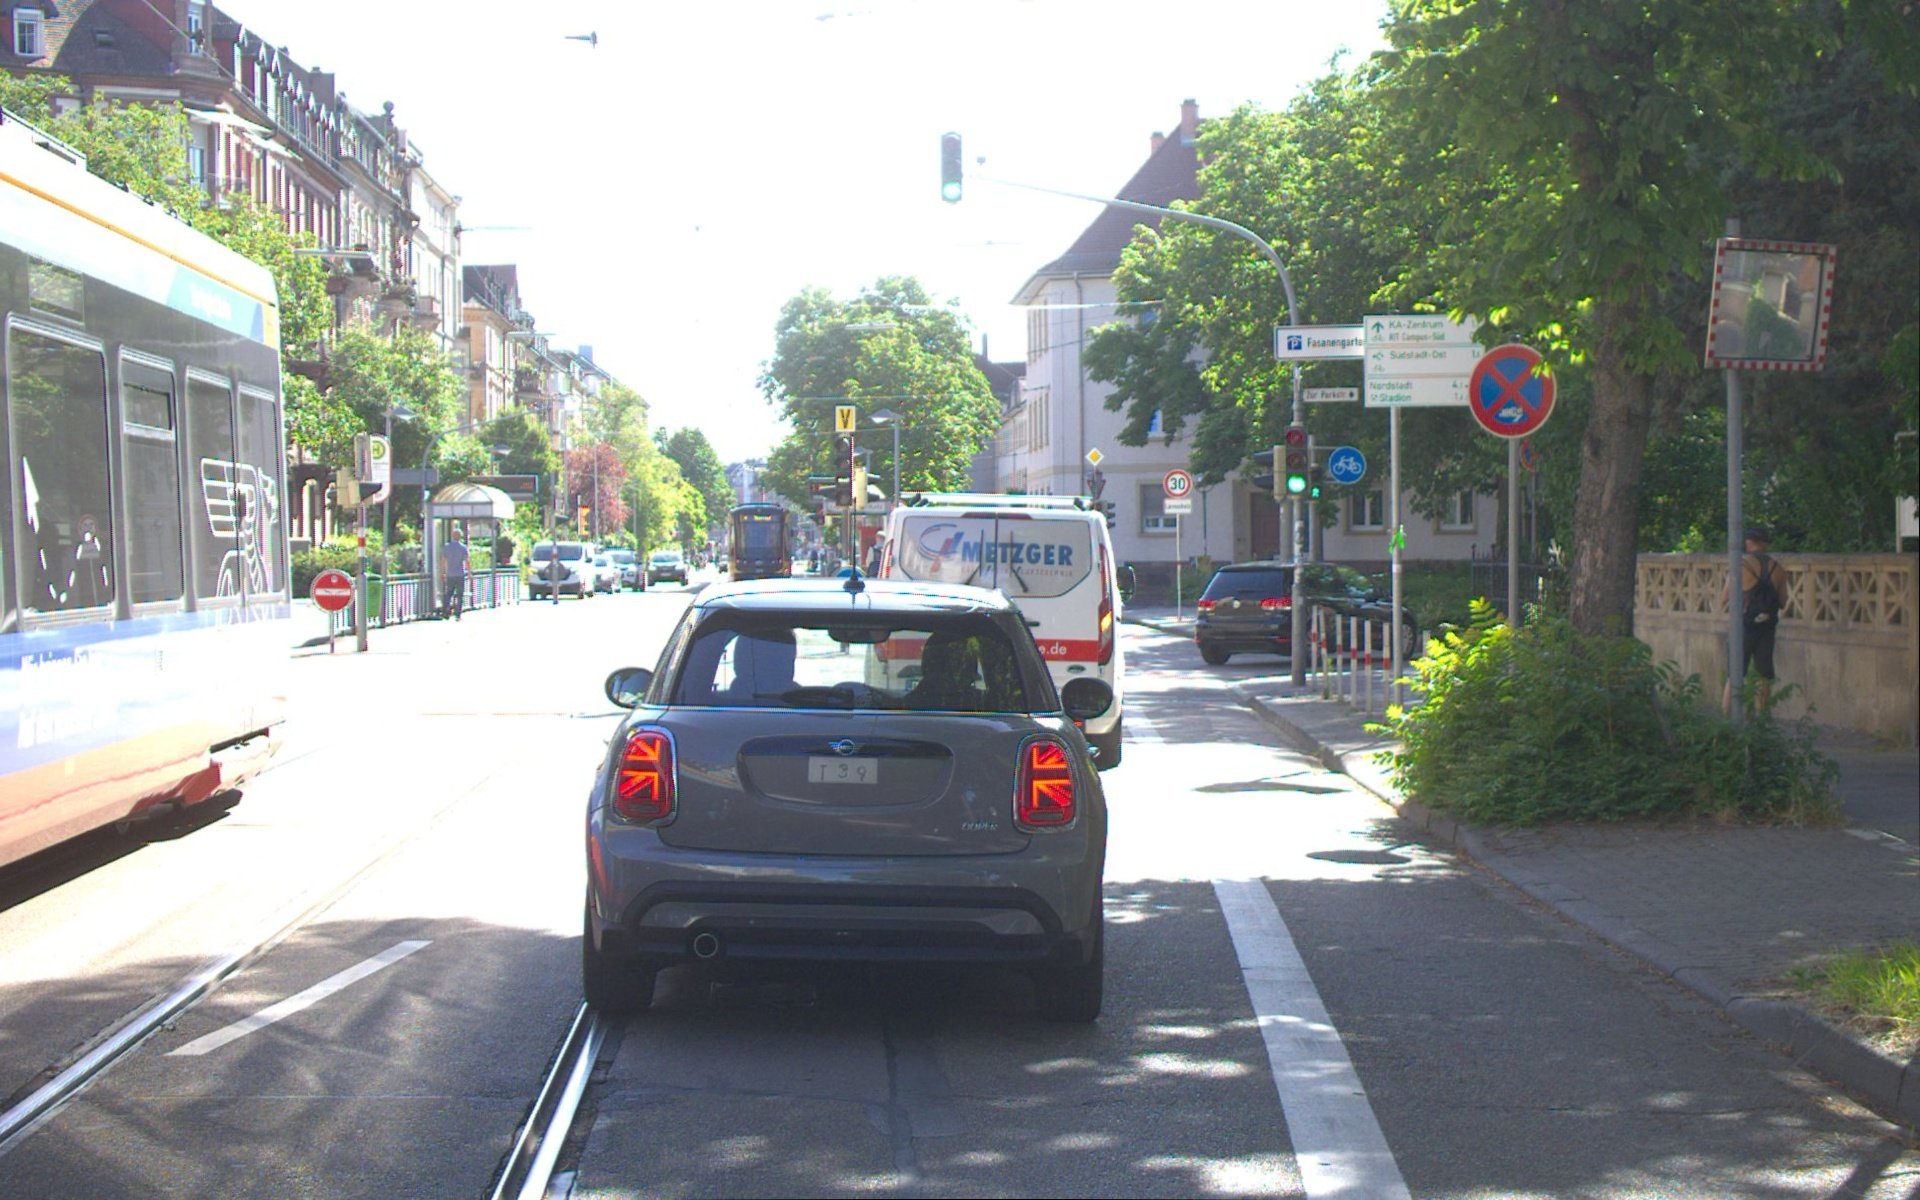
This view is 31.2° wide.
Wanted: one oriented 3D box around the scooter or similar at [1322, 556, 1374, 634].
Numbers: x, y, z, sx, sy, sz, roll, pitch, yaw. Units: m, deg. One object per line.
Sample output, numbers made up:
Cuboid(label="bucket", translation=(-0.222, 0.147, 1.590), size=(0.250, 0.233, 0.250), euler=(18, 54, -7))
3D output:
Cuboid(label="scooter or similar", translation=(6.575, -0.091, 58.310), size=(0.676, 1.306, 1.329), euler=(1, 0, -1))

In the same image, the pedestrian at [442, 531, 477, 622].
Cuboid(label="pedestrian", translation=(-9.968, -0.472, 68.464), size=(0.577, 1.789, 0.608), euler=(-1, 1, -19))

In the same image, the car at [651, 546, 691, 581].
Cuboid(label="car", translation=(-13.534, -1.702, 161.244), size=(1.775, 1.612, 4.001), euler=(1, 0, -4))

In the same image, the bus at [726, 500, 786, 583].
Cuboid(label="bus", translation=(-8.940, -2.509, 150.095), size=(2.385, 3.484, 7.385), euler=(1, 0, -5))

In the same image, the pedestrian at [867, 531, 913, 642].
Cuboid(label="pedestrian", translation=(-1.283, -0.249, 63.053), size=(0.795, 2.007, 0.740), euler=(1, 0, -2))

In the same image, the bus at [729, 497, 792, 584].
Cuboid(label="bus", translation=(-8.313, -2.446, 142.678), size=(2.385, 3.484, 7.385), euler=(1, 0, -5))

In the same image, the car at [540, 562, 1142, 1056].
Cuboid(label="car", translation=(-0.387, 0.627, 12.504), size=(1.815, 1.483, 4.000), euler=(1, 0, -1))

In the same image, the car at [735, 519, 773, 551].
Cuboid(label="car", translation=(-10.520, -3.290, 175.365), size=(1.863, 1.558, 4.001), euler=(1, 0, -4))

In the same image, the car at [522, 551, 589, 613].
Cuboid(label="car", translation=(-13.680, -0.619, 116.390), size=(1.993, 2.007, 5.030), euler=(1, 0, -4))

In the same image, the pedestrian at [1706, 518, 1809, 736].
Cuboid(label="pedestrian", translation=(6.208, 0.205, 26.788), size=(0.592, 1.665, 0.647), euler=(-2, 0, -1))

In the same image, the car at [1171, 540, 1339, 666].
Cuboid(label="car", translation=(4.165, 0.027, 49.121), size=(1.993, 1.700, 4.000), euler=(1, 0, 0))

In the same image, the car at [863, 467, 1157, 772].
Cuboid(label="car", translation=(0.336, 0.131, 27.631), size=(2.118, 2.201, 4.944), euler=(1, 0, -1))

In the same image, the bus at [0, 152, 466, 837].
Cuboid(label="bus", translation=(-5.624, -0.628, 25.089), size=(2.849, 3.764, 12.199), euler=(1, 0, -3))

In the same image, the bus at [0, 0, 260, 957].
Cuboid(label="bus", translation=(-5.059, -0.556, 13.486), size=(2.859, 3.764, 11.185), euler=(1, 0, -3))

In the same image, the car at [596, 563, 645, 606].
Cuboid(label="car", translation=(-13.271, -0.619, 134.534), size=(1.775, 1.612, 4.001), euler=(1, 0, -4))
